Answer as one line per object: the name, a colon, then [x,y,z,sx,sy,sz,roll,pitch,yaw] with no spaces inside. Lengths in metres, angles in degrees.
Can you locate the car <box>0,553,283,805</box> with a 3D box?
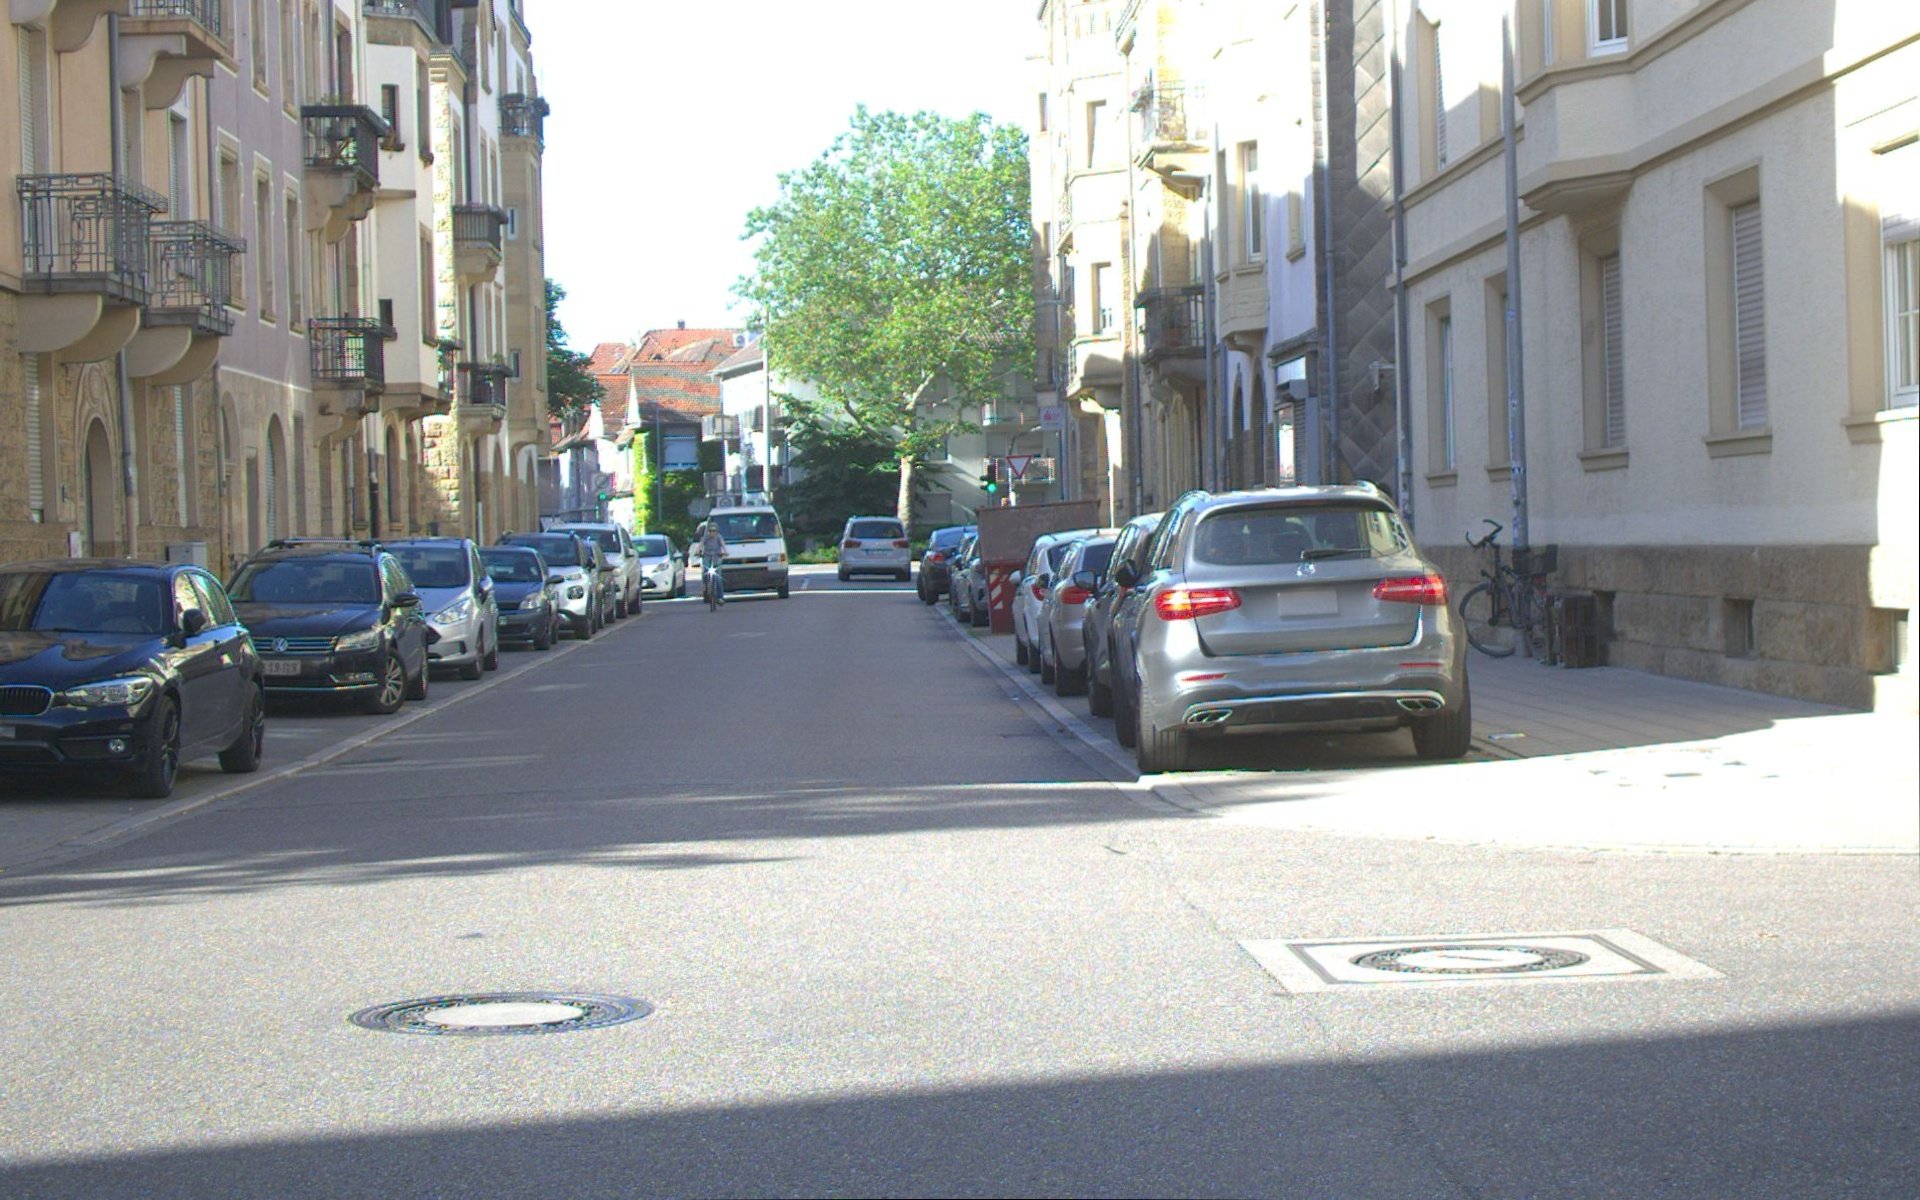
car: [-5.520,0.424,21.661,1.679,1.421,4.274,1,0,0]

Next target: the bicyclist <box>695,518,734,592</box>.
bicyclist: [-4.699,-0.862,65.892,0.662,1.381,0.754,-3,1,-3]

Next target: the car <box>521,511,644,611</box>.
car: [-7.012,-0.726,64.208,2.003,1.782,4.488,1,0,-3]

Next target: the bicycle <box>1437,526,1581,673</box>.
bicycle: [4.910,-0.030,30.911,0.761,1.242,2.592,-1,1,-2]

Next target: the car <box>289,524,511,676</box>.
car: [-6.332,-0.020,39.353,2.003,1.613,4.488,1,0,-3]

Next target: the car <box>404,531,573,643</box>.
car: [-6.597,-0.194,48.459,1.978,1.477,4.328,1,0,-3]

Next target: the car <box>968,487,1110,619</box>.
car: [1.113,-0.653,50.314,1.838,1.781,4.029,-2,0,-1]

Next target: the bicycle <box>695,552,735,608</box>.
bicycle: [-4.686,-0.382,65.881,0.662,1.015,2.067,-3,1,-3]

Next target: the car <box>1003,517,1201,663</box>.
car: [1.494,-0.095,37.526,1.838,1.426,4.029,-3,0,-1]

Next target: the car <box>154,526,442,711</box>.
car: [-6.057,0.138,31.941,2.003,1.577,4.488,1,0,-3]

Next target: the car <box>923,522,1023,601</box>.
car: [0.229,-0.752,69.125,1.838,1.426,4.029,-3,0,-1]

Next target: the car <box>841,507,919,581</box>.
car: [-2.159,-1.480,91.697,2.003,1.907,4.488,1,0,-2]

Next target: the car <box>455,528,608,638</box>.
car: [-6.555,-0.272,53.031,2.003,1.613,4.488,1,0,-3]

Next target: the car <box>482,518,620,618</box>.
car: [-6.921,-0.538,58.526,2.003,1.613,4.488,1,0,-3]

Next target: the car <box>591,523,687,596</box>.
car: [-7.345,-0.922,79.021,2.003,1.600,4.488,1,0,-3]

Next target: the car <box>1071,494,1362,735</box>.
car: [1.861,0.108,26.073,1.745,1.602,4.029,-3,0,-1]

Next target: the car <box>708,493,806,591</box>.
car: [-4.325,-1.223,73.453,2.003,1.993,4.488,1,0,-3]

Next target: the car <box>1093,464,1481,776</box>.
car: [1.904,0.115,21.451,1.913,1.639,4.773,-3,0,0]

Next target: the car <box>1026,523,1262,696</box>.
car: [1.652,0.090,32.136,1.838,1.426,4.029,-3,0,-1]
